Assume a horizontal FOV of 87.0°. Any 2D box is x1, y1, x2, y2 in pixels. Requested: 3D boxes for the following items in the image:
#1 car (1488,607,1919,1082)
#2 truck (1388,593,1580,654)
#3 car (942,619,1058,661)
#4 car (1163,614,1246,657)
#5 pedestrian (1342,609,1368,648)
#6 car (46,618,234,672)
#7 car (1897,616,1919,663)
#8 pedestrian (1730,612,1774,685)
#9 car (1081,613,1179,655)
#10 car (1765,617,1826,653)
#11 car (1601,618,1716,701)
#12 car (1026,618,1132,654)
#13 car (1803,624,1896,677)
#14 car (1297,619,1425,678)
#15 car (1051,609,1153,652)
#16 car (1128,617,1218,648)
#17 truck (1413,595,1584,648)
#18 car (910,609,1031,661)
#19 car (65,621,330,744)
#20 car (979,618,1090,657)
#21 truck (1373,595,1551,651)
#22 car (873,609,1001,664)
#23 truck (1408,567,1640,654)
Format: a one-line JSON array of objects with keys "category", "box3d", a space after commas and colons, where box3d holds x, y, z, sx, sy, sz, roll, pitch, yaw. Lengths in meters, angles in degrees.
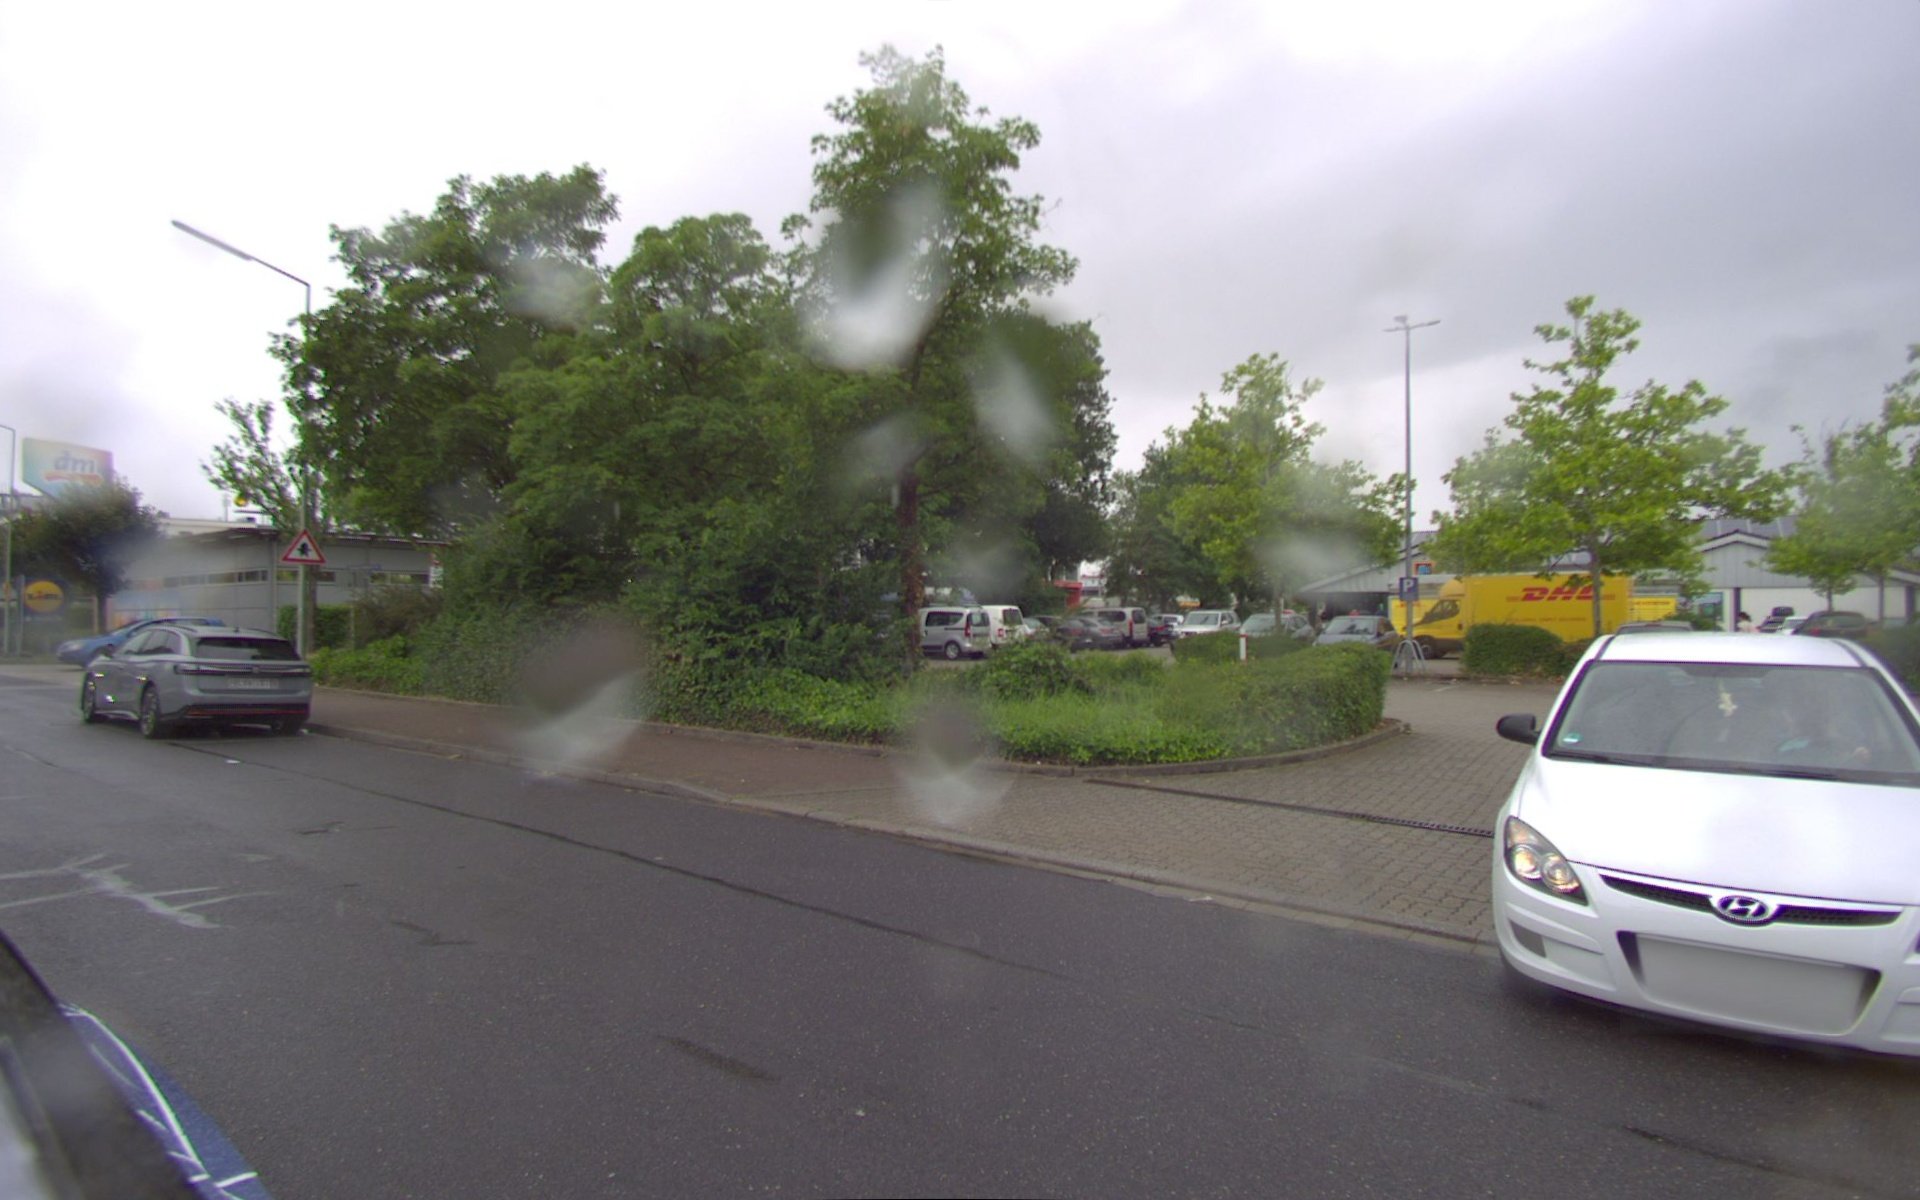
[{"category": "car", "box3d": [3.903, 0.788, 5.107, 1.708, 1.471, 4.155, -1, -1, 34]}, {"category": "truck", "box3d": [19.316, 0.858, 37.503, 6.121, 2.110, 1.976, -1, -2, 35]}, {"category": "car", "box3d": [1.496, 1.482, 38.518, 3.986, 1.497, 1.979, -1, -1, 31]}, {"category": "car", "box3d": [9.522, 1.332, 39.224, 2.019, 1.562, 4.250, -1, -1, 30]}, {"category": "pedestrian", "box3d": [20.377, 1.484, 52.220, 0.910, 1.977, 1.292, -1, -2, 37]}, {"category": "car", "box3d": [-23.880, 1.301, 29.592, 1.733, 1.452, 3.950, -1, -3, 36]}, {"category": "car", "box3d": [29.919, 1.172, 30.619, 1.998, 1.356, 3.947, -1, -2, 39]}, {"category": "pedestrian", "box3d": [18.374, 1.105, 23.485, 0.769, 1.646, 0.768, -1, -2, 39]}, {"category": "car", "box3d": [7.790, 1.527, 46.343, 3.986, 1.829, 1.979, -1, -2, 31]}, {"category": "car", "box3d": [36.889, 1.529, 44.746, 1.998, 1.533, 3.947, -1, -2, 39]}, {"category": "car", "box3d": [13.906, 1.112, 20.213, 1.708, 1.471, 4.155, -1, -2, 34]}, {"category": "car", "box3d": [4.947, 1.483, 42.192, 3.986, 1.431, 1.979, -1, -1, 31]}, {"category": "car", "box3d": [27.702, 1.522, 31.626, 1.998, 1.533, 3.947, -1, -2, 39]}, {"category": "car", "box3d": [10.690, 1.226, 26.825, 1.999, 1.431, 3.946, -1, -2, 40]}, {"category": "car", "box3d": [6.215, 1.330, 44.417, 3.986, 1.829, 1.979, -1, -2, 31]}, {"category": "car", "box3d": [10.697, 1.633, 50.884, 3.986, 1.497, 1.979, -1, -1, 31]}, {"category": "truck", "box3d": [22.519, 0.907, 42.465, 6.121, 2.076, 1.976, -1, -2, 35]}, {"category": "car", "box3d": [0.376, 1.237, 36.685, 3.986, 1.807, 1.979, -1, -1, 31]}, {"category": "car", "box3d": [-11.384, 1.148, 15.003, 4.739, 1.540, 1.792, -1, -5, 37]}, {"category": "car", "box3d": [2.978, 1.483, 40.668, 3.986, 1.497, 1.979, -1, -1, 31]}, {"category": "truck", "box3d": [19.944, 0.908, 40.366, 6.121, 2.076, 1.976, -1, -2, 35]}, {"category": "car", "box3d": [-0.805, 1.236, 34.958, 3.986, 1.807, 1.979, -1, -1, 31]}, {"category": "truck", "box3d": [18.329, 0.376, 33.154, 6.389, 2.621, 1.974, -1, -2, 39]}]
